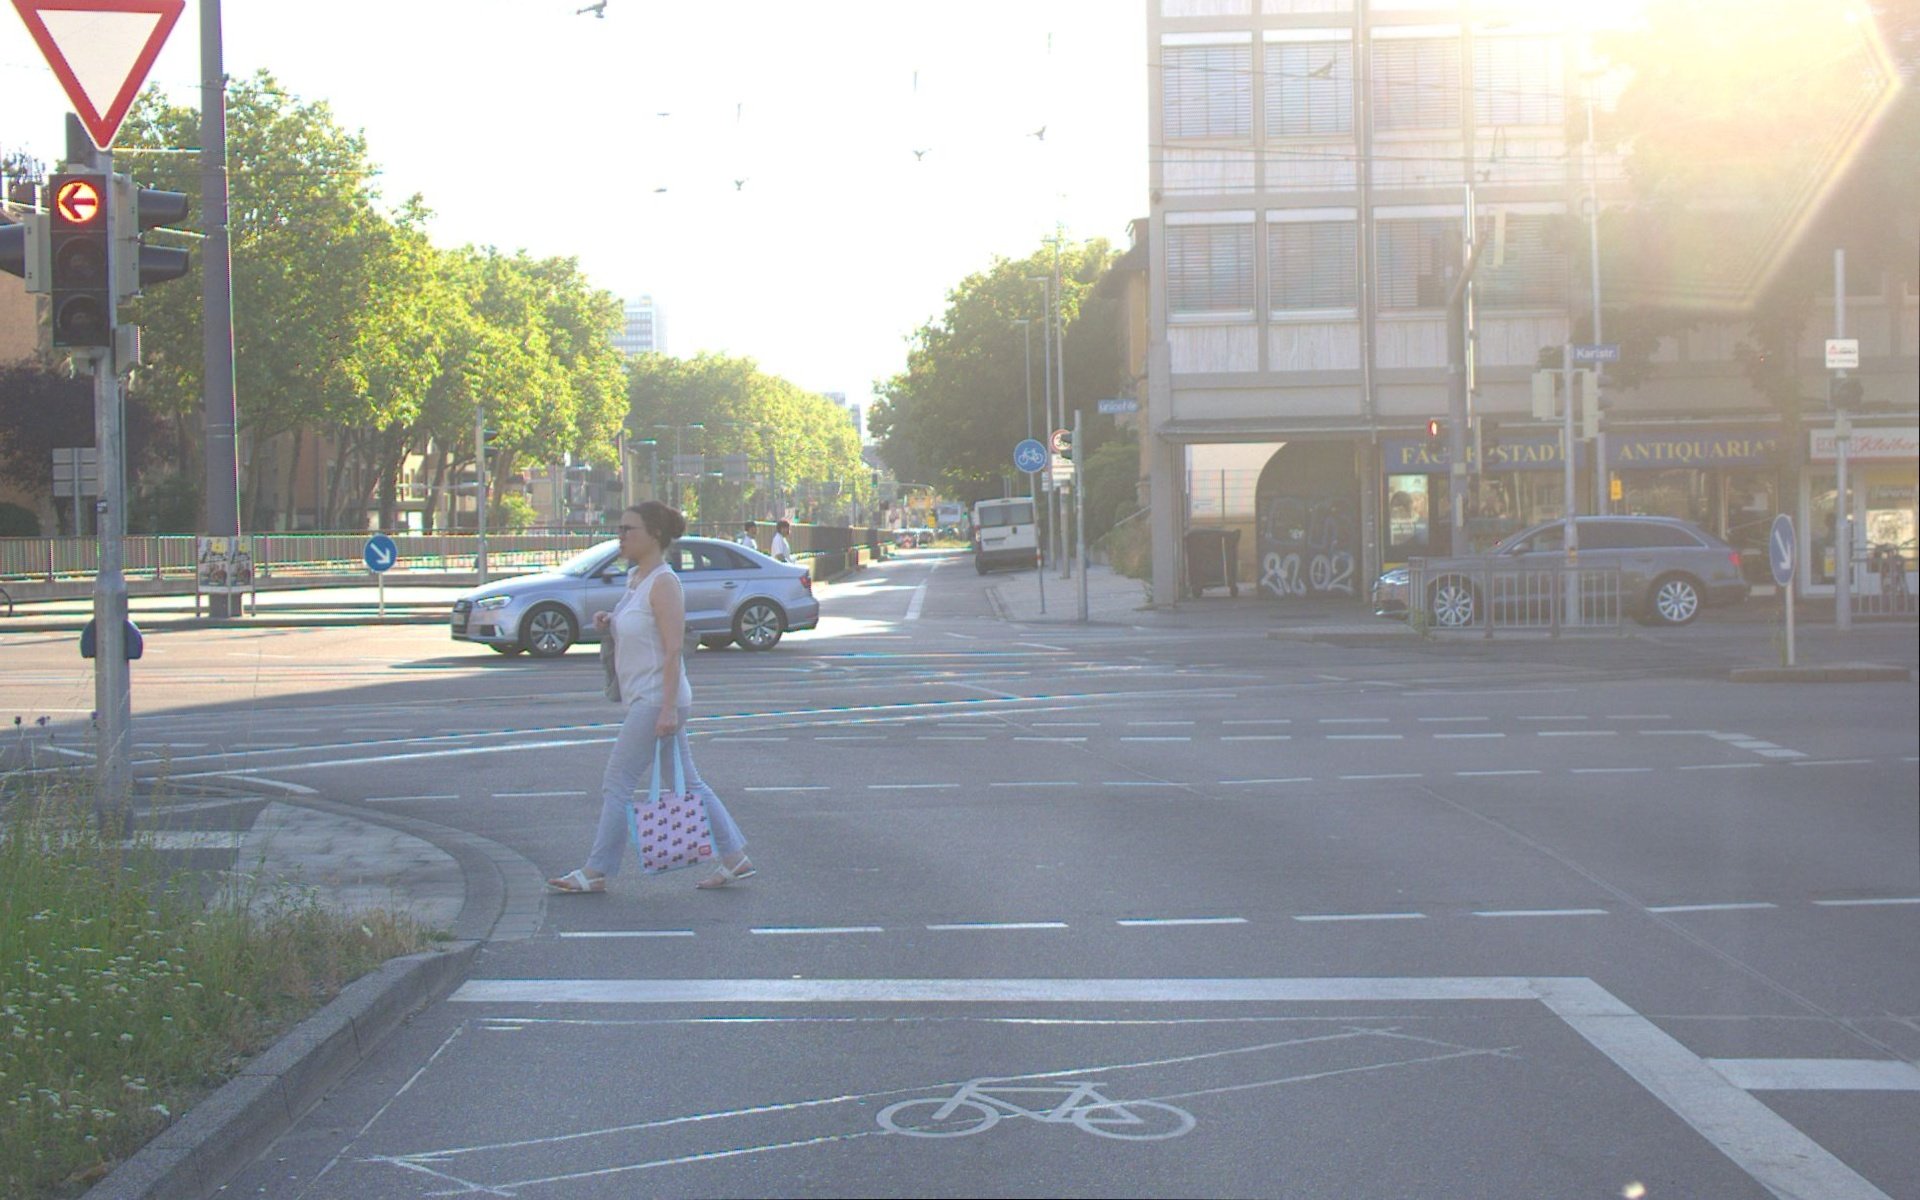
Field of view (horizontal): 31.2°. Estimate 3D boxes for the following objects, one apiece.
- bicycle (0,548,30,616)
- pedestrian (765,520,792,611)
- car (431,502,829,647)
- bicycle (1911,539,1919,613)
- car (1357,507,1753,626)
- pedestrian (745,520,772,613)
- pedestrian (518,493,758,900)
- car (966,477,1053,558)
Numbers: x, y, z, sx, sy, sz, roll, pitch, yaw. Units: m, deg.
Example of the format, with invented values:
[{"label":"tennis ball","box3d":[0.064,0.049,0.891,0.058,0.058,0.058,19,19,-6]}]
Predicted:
[{"label":"bicycle","box3d":[-16.868,-0.289,57.948,2.173,1.133,0.659,-1,1,-4]},{"label":"pedestrian","box3d":[-3.011,-0.574,57.090,0.365,1.502,0.543,-1,1,-7]},{"label":"car","box3d":[-3.984,-0.331,41.574,4.331,1.590,2.000,-2,1,-25]},{"label":"bicycle","box3d":[15.373,-0.374,51.618,1.972,1.094,0.677,-1,1,-4]},{"label":"car","box3d":[7.756,-0.449,45.213,4.920,1.473,2.000,-1,1,4]},{"label":"pedestrian","box3d":[-3.267,-0.545,55.823,0.365,1.502,0.543,-1,1,-7]},{"label":"pedestrian","box3d":[-1.291,0.374,13.907,0.878,1.592,0.655,-1,1,0]},{"label":"car","box3d":[1.535,-2.603,108.880,2.486,2.384,5.935,-3,1,-1]}]
